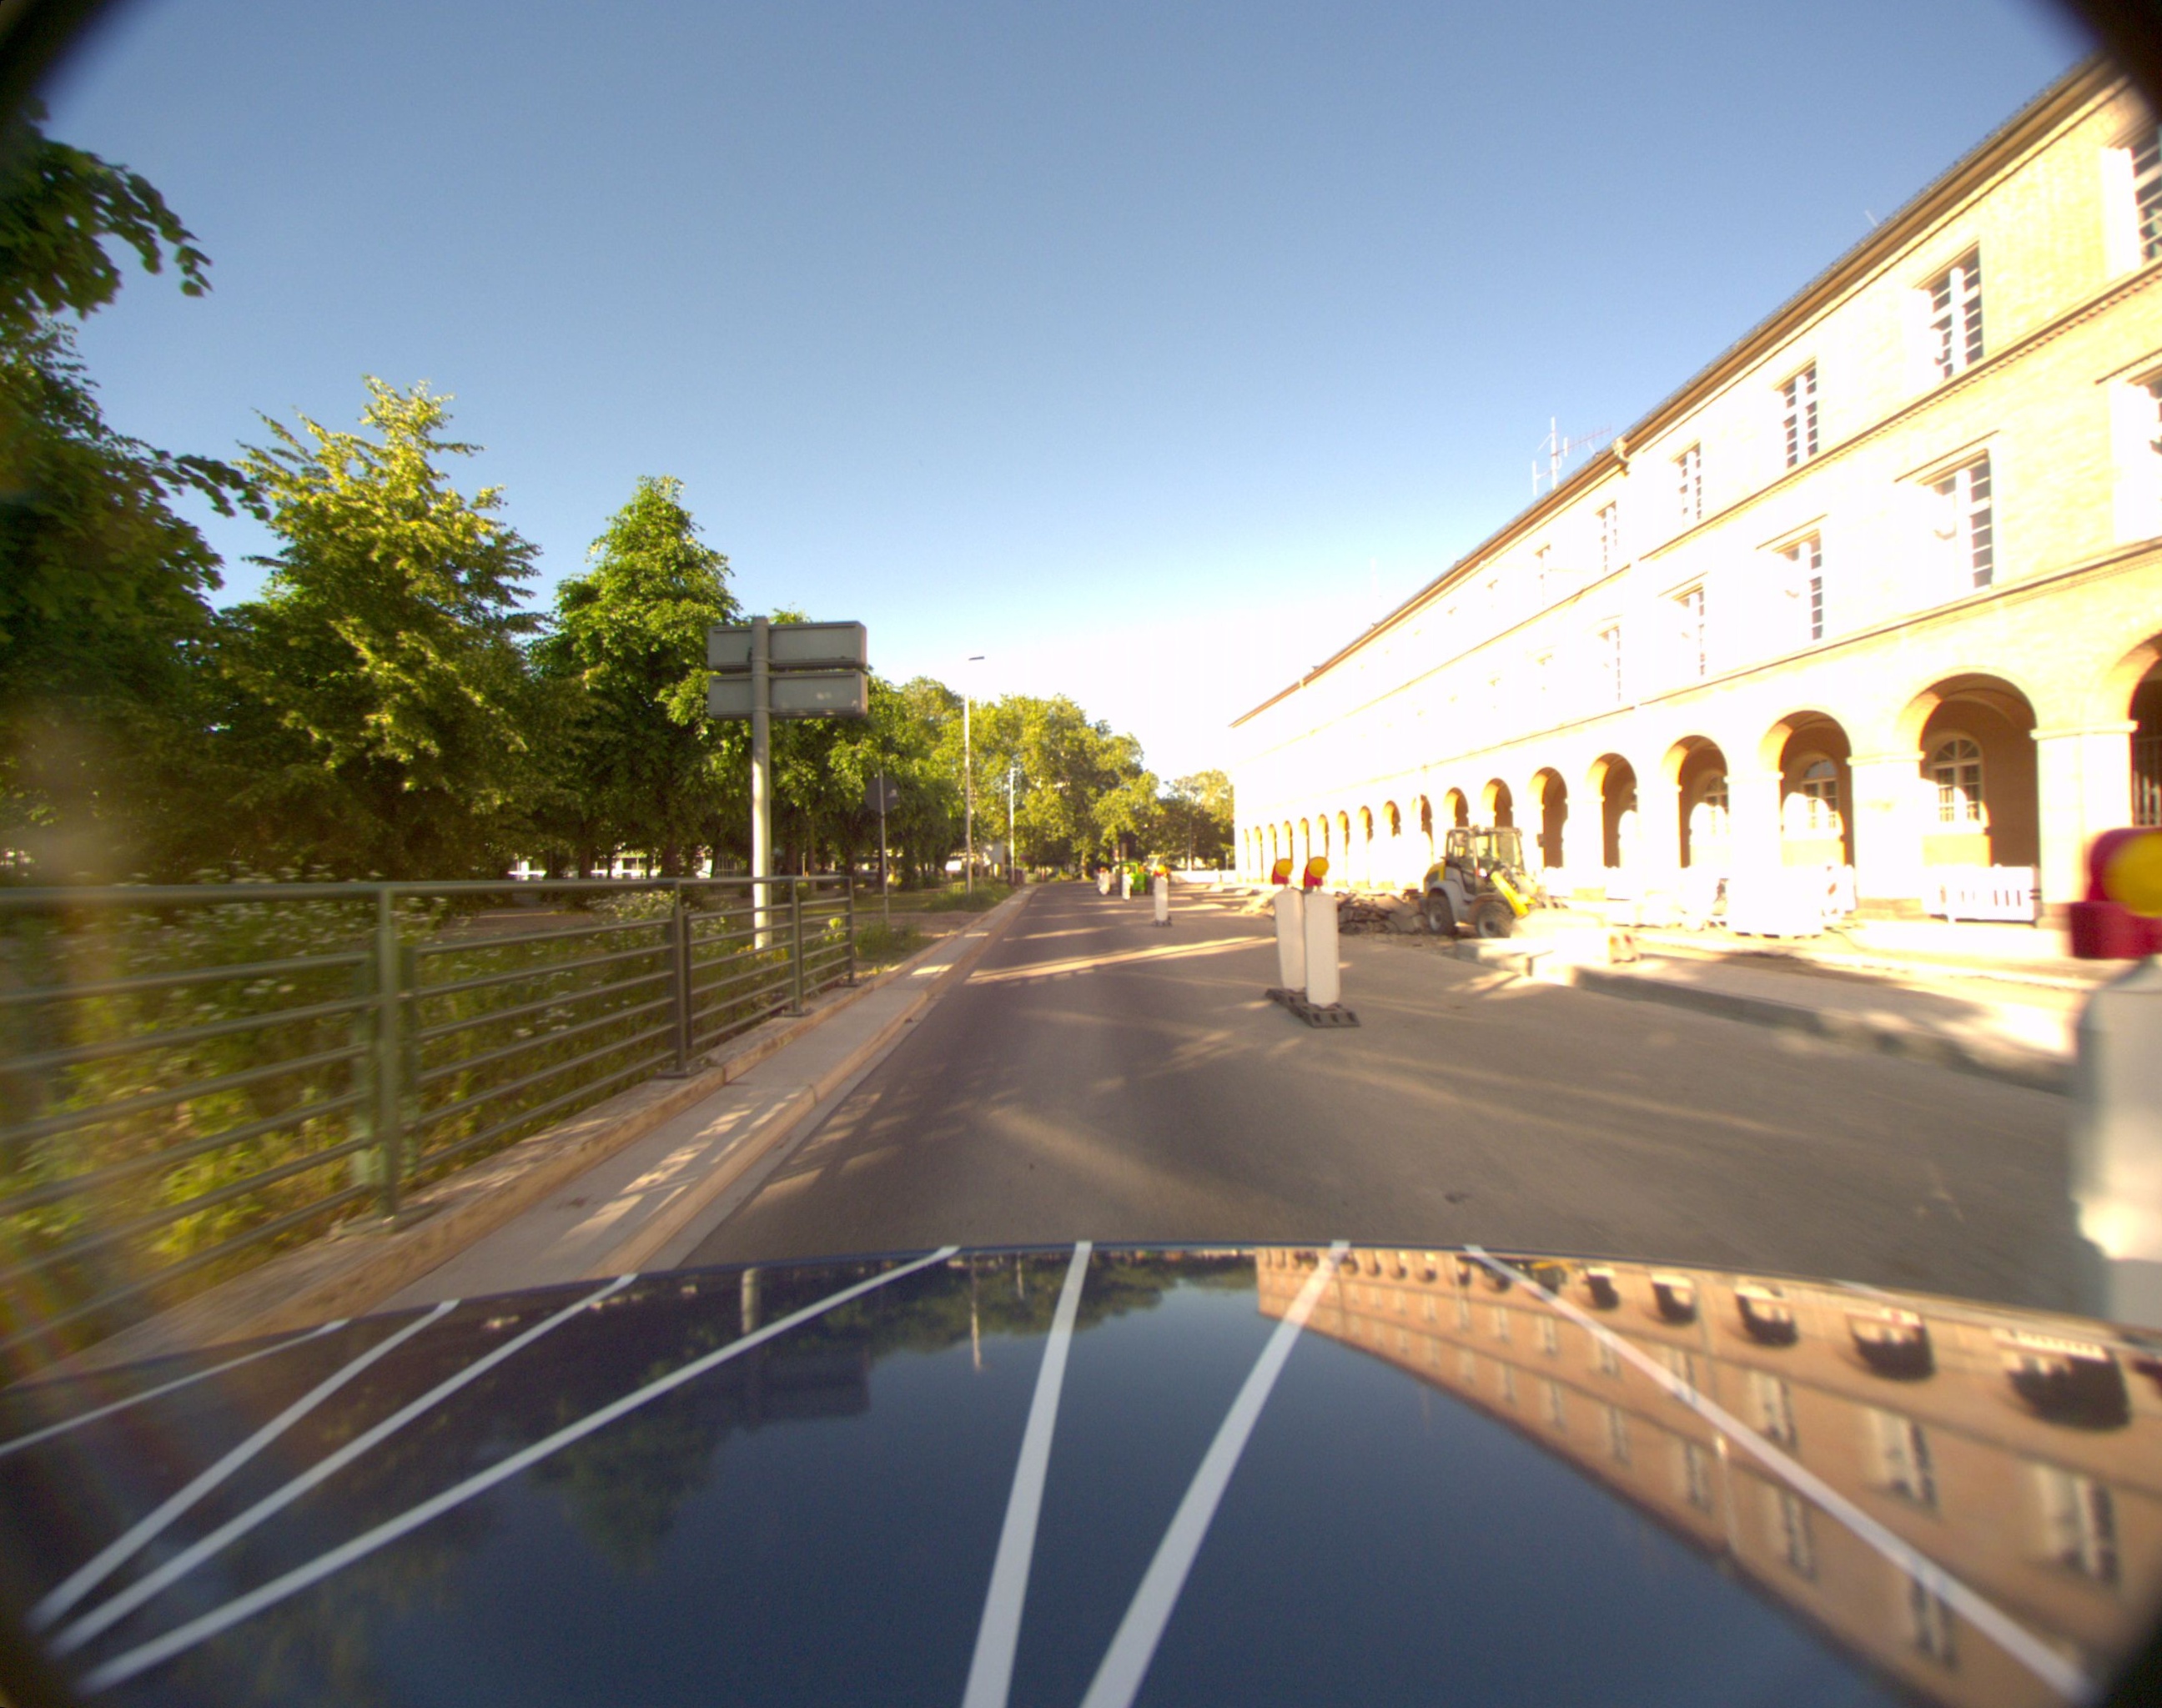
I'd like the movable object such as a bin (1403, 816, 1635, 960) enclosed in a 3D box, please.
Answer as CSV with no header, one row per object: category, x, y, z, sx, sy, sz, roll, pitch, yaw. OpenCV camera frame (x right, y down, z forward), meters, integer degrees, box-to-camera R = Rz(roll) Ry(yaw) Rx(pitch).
movable object such as a bin,8.424,0.606,15.187,1.796,2.438,4.535,0,-1,-4

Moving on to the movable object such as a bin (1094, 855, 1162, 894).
movable object such as a bin,2.537,1.089,41.696,3.245,2.064,2.108,0,-1,-14

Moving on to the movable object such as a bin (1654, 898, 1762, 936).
movable object such as a bin,12.829,1.272,15.599,1.190,0.694,1.240,0,-1,-2
